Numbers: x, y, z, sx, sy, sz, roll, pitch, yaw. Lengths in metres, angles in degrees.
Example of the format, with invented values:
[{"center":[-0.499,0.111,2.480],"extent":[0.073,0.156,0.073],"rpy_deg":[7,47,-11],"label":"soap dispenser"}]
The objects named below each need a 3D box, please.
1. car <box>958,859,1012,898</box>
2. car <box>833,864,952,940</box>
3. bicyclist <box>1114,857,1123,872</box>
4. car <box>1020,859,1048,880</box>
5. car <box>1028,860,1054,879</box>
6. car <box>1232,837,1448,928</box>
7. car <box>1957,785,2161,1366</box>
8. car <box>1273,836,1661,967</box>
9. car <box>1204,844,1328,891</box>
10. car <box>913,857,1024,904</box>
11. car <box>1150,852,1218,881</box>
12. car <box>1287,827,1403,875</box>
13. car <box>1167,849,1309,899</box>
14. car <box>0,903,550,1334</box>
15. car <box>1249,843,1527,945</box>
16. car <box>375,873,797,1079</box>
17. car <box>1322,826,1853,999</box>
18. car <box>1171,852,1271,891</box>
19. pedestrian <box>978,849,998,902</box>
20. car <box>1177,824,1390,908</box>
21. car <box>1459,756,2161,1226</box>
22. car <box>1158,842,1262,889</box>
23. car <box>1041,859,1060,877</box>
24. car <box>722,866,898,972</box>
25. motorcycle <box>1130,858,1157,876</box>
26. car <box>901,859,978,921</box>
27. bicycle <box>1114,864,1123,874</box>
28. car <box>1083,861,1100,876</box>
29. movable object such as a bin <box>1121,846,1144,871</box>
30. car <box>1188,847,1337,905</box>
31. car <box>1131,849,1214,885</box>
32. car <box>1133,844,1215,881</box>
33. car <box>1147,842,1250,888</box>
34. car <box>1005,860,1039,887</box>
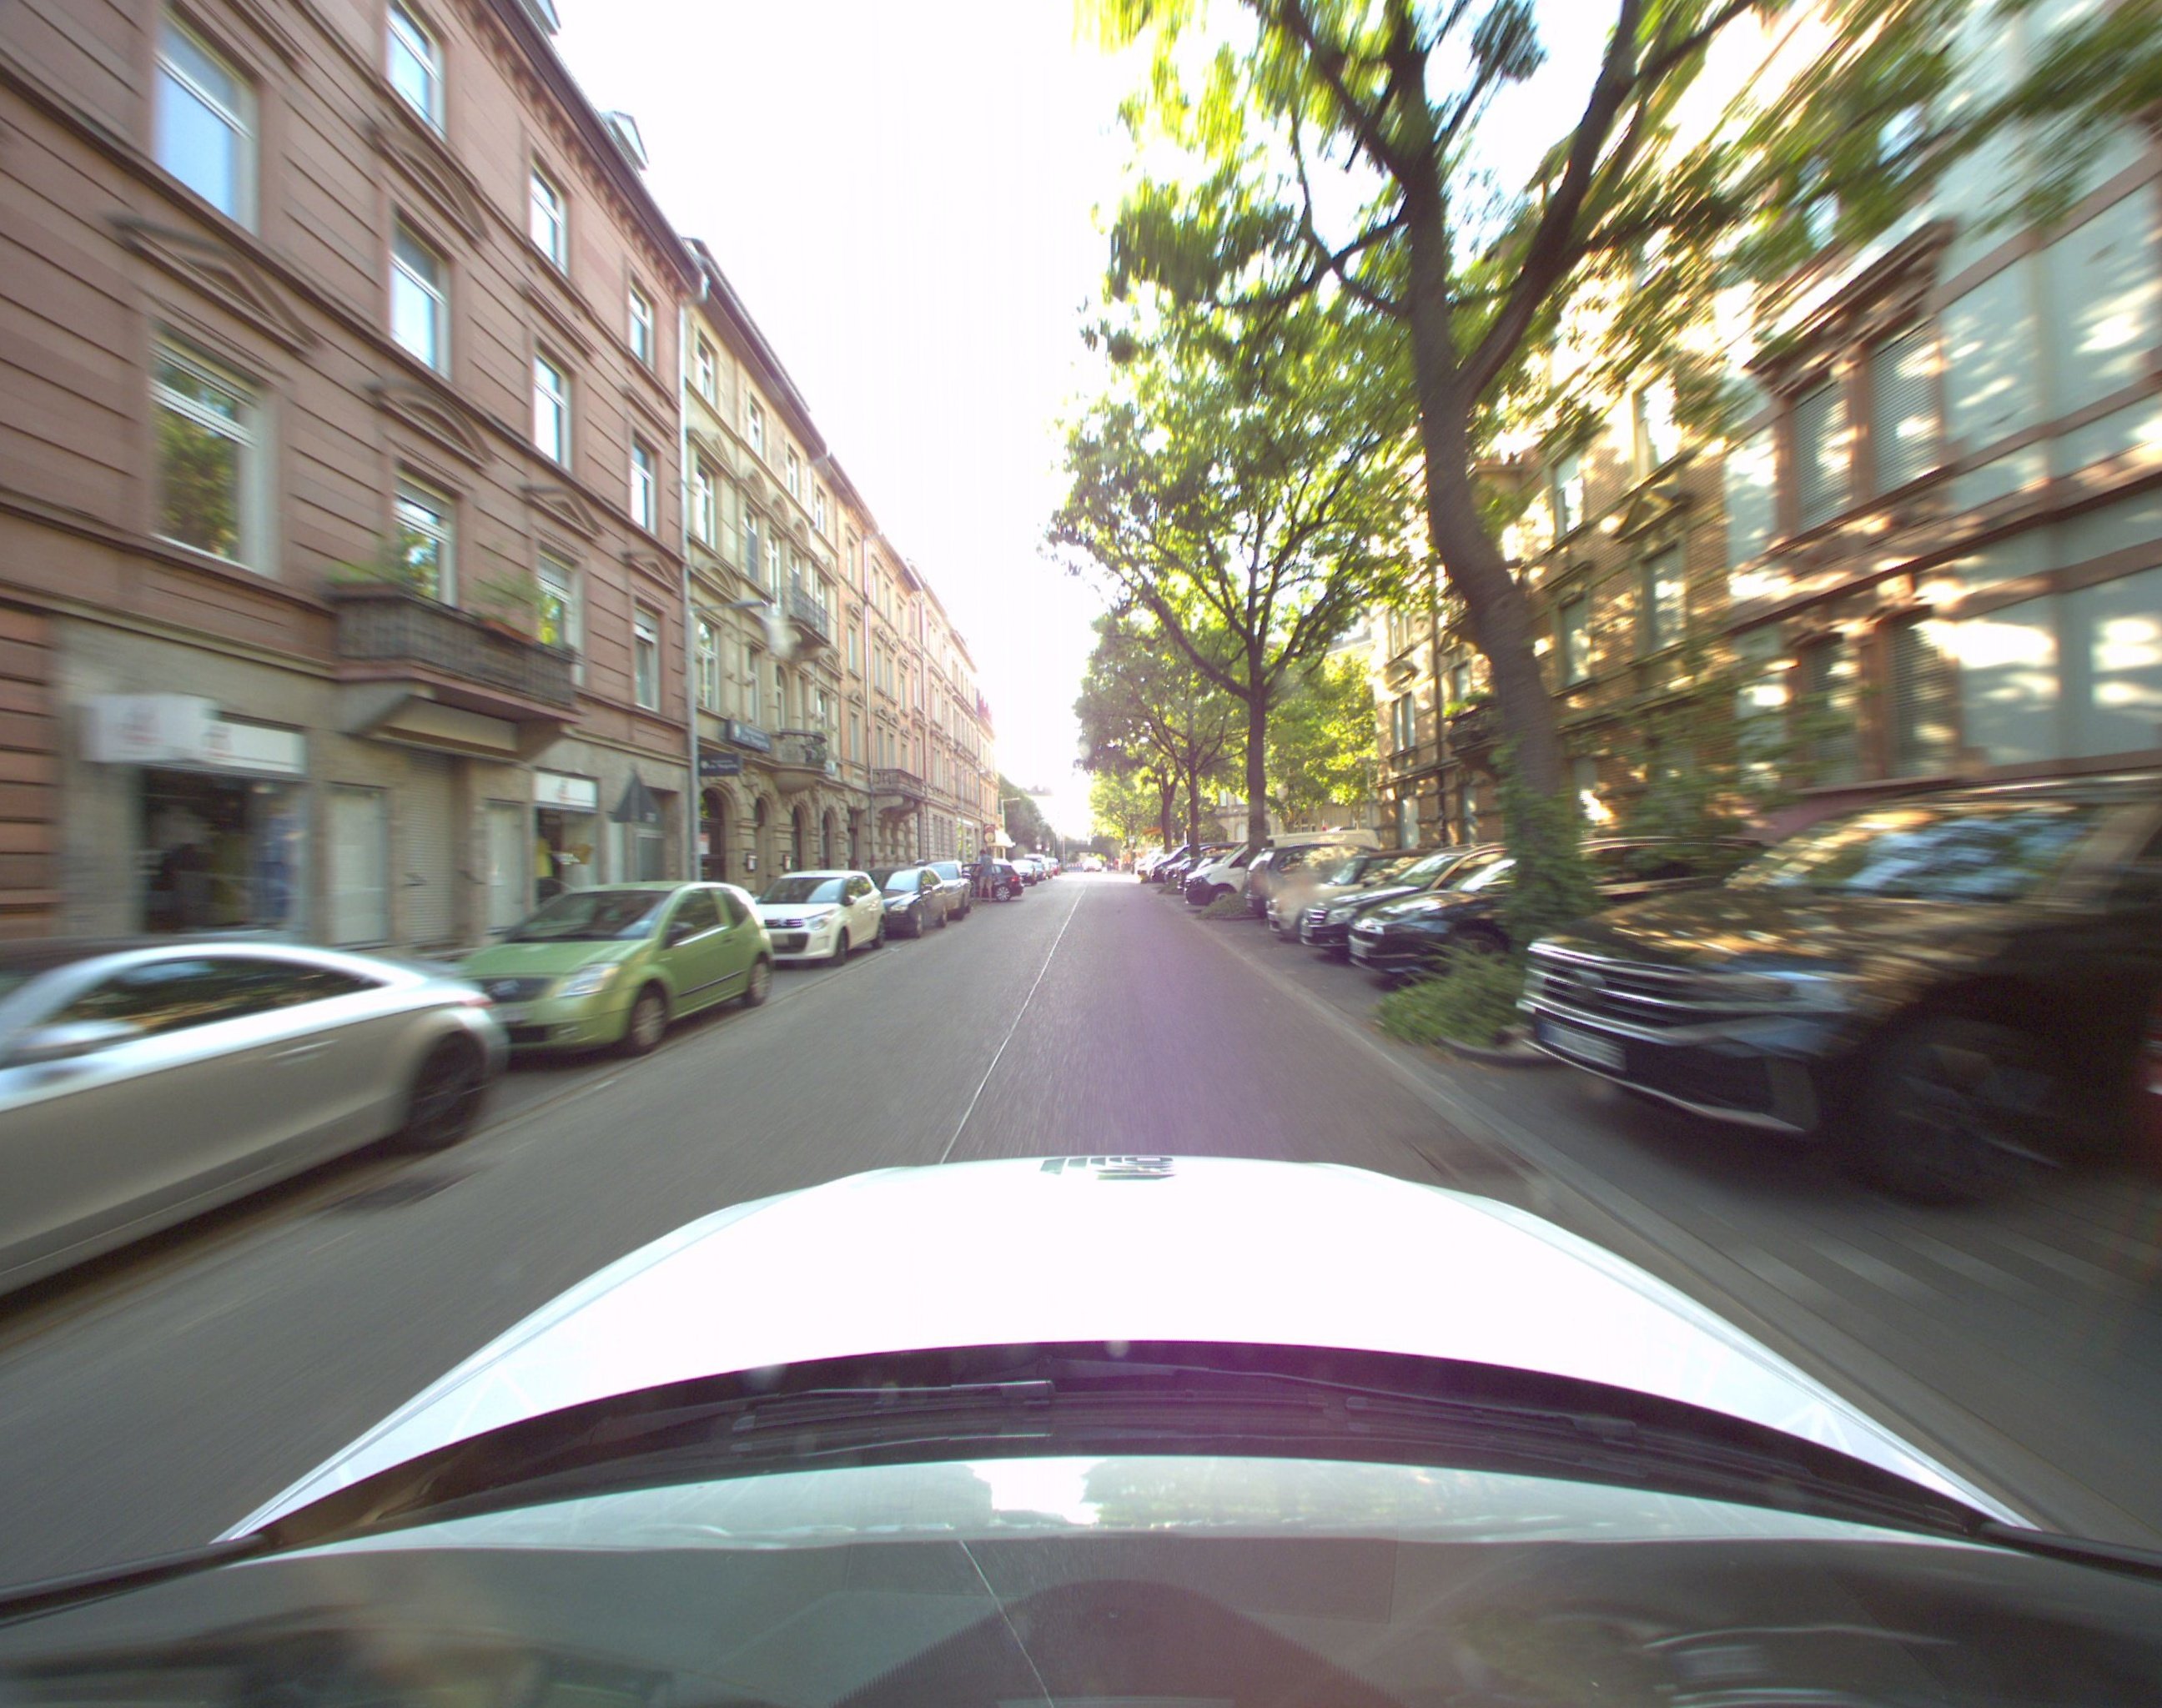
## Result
[{"center":[-4.177,1.019,35.898],"extent":[1.735,1.567,3.896],"rpy_deg":[-2,0,2],"label":"car"},{"center":[-4.087,0.989,18.323],"extent":[1.642,1.473,4.001],"rpy_deg":[1,0,1],"label":"car"},{"center":[3.638,1.033,79.303],"extent":[0.800,1.383,0.985],"rpy_deg":[-1,-1,0],"label":"bicyclist"},{"center":[-3.386,1.107,58.997],"extent":[1.759,1.437,4.300],"rpy_deg":[-2,0,0],"label":"car"},{"center":[-3.110,1.235,64.212],"extent":[1.719,1.437,3.997],"rpy_deg":[0,0,2],"label":"car"},{"center":[5.276,0.553,16.900],"extent":[3.876,1.649,1.722],"rpy_deg":[-2,0,-4],"label":"car"},{"center":[4.931,0.531,1.881],"extent":[3.977,1.590,1.781],"rpy_deg":[-2,0,-2],"label":"car"},{"center":[5.305,0.601,11.501],"extent":[4.656,1.503,1.927],"rpy_deg":[-2,0,-8],"label":"car"},{"center":[6.670,0.496,29.681],"extent":[4.066,1.497,1.844],"rpy_deg":[-2,0,1],"label":"car"},{"center":[-4.164,0.973,30.636],"extent":[3.980,1.529,1.823],"rpy_deg":[-2,0,-5],"label":"car"},{"center":[6.136,0.761,48.871],"extent":[3.827,1.595,1.741],"rpy_deg":[-2,-1,1],"label":"car"},{"center":[15.142,-0.172,46.979],"extent":[5.884,2.537,2.376],"rpy_deg":[-1,-1,-5],"label":"car"},{"center":[5.155,0.650,27.151],"extent":[4.353,1.455,1.934],"rpy_deg":[-2,0,1],"label":"car"},{"center":[-4.565,1.022,3.529],"extent":[1.699,1.323,4.102],"rpy_deg":[-2,0,2],"label":"car"},{"center":[5.183,0.640,14.099],"extent":[4.096,1.503,1.809],"rpy_deg":[-2,0,-4],"label":"car"},{"center":[-4.483,0.979,8.209],"extent":[1.699,1.439,3.960],"rpy_deg":[-2,0,2],"label":"car"},{"center":[5.199,0.581,8.930],"extent":[4.534,1.529,2.001],"rpy_deg":[-2,0,2],"label":"car"},{"center":[5.794,0.717,34.119],"extent":[3.967,1.448,1.893],"rpy_deg":[-2,0,5],"label":"car"},{"center":[-3.368,0.778,29.540],"extent":[0.588,1.888,0.640],"rpy_deg":[-2,-1,1],"label":"pedestrian"},{"center":[5.198,0.376,21.563],"extent":[5.073,1.940,2.158],"rpy_deg":[-2,-4,1],"label":"car"},{"center":[4.725,0.439,4.195],"extent":[4.633,1.702,1.880],"rpy_deg":[-4,0,-3],"label":"car"},{"center":[5.730,0.510,36.508],"extent":[4.258,1.885,1.938],"rpy_deg":[-2,0,-3],"label":"car"},{"center":[-2.769,1.258,74.544],"extent":[1.664,1.530,3.998],"rpy_deg":[-1,-1,-1],"label":"car"},{"center":[-4.464,0.987,14.035],"extent":[1.576,1.473,4.001],"rpy_deg":[-2,0,1],"label":"car"},{"center":[5.017,1.043,65.166],"extent":[2.017,1.285,0.904],"rpy_deg":[-4,-1,-1],"label":"motorcycle"},{"center":[-3.957,0.953,23.302],"extent":[1.644,1.574,4.045],"rpy_deg":[1,0,-3],"label":"car"},{"center":[3.642,1.428,79.491],"extent":[0.800,0.968,2.108],"rpy_deg":[-1,-1,1],"label":"bicycle"},{"center":[1.107,1.527,87.485],"extent":[1.743,1.509,4.001],"rpy_deg":[-2,0,1],"label":"car"},{"center":[5.860,0.497,92.067],"extent":[1.979,2.699,3.122],"rpy_deg":[-2,-1,14],"label":"movable object such as a bin"},{"center":[5.400,0.640,24.504],"extent":[3.982,1.474,1.778],"rpy_deg":[-3,0,-7],"label":"car"},{"center":[4.650,0.658,41.665],"extent":[3.975,1.692,1.800],"rpy_deg":[-2,0,-1],"label":"car"},{"center":[5.859,0.533,51.864],"extent":[4.956,2.096,2.106],"rpy_deg":[-2,-1,1],"label":"car"},{"center":[5.548,0.511,38.888],"extent":[4.602,2.014,1.999],"rpy_deg":[-2,0,-2],"label":"car"},{"center":[-3.499,1.132,48.822],"extent":[1.698,1.454,4.019],"rpy_deg":[-2,0,0],"label":"car"}]
